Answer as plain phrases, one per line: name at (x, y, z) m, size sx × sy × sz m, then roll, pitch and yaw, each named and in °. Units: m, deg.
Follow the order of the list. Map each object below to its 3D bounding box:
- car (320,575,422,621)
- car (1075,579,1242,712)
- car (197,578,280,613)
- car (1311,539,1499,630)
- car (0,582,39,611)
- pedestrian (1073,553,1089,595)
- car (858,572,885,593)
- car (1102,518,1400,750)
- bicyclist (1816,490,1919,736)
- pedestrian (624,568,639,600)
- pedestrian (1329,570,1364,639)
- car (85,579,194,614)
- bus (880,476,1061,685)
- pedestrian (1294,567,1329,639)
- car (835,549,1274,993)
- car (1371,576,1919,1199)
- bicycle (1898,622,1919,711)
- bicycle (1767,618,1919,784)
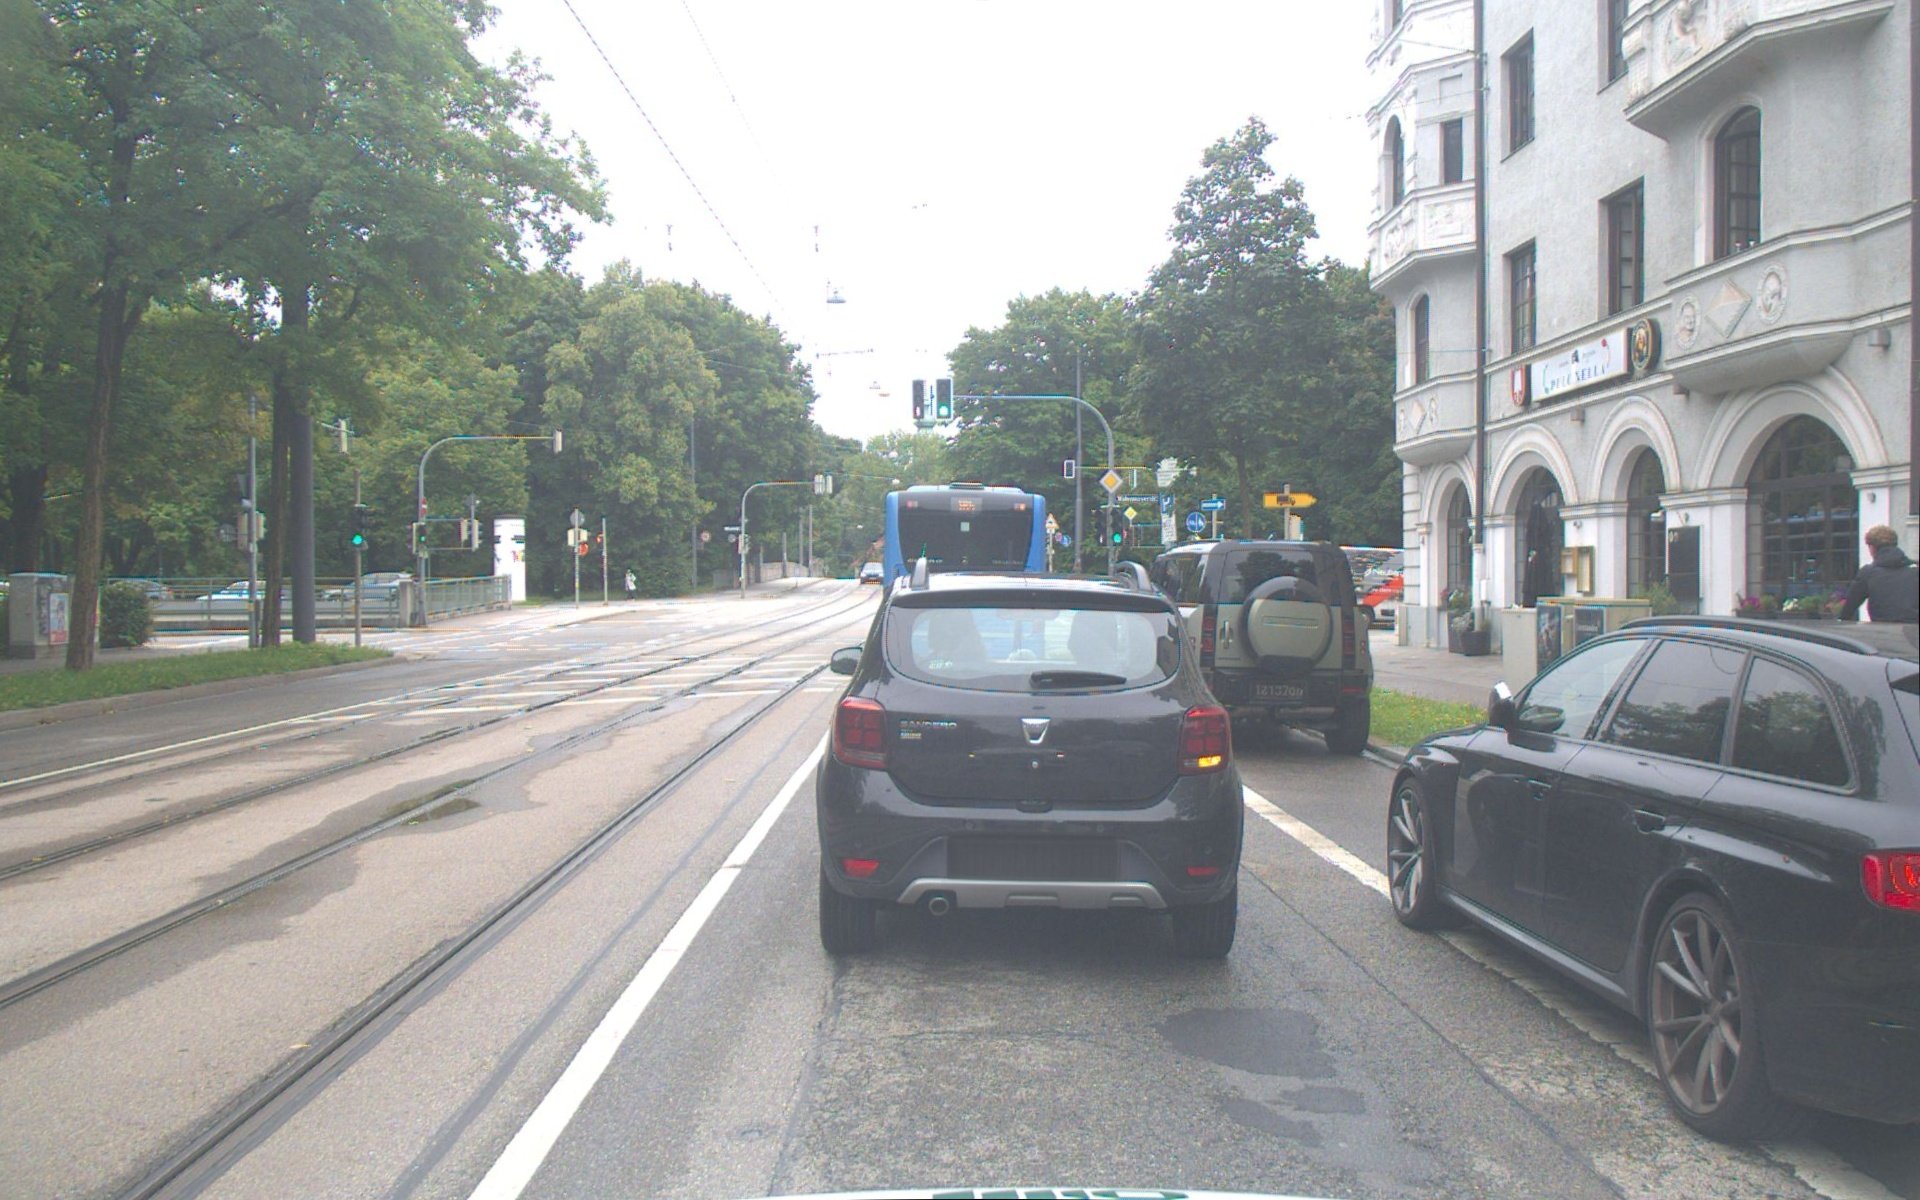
car at (-25.919, -0.083, 72.913) m, size 3.946 × 1.920 × 1.488 m, roll 1°, pitch 0°, yaw -8°
car at (2.614, 0.556, 22.690) m, size 1.679 × 1.619 × 4.326 m, roll 1°, pitch 0°, yaw -1°
car at (-31.471, -0.194, 72.193) m, size 3.050 × 1.477 × 1.249 m, roll 1°, pitch 0°, yaw -6°
car at (13.808, -0.470, 51.535) m, size 5.191 × 2.658 × 2.229 m, roll 1°, pitch 0°, yaw -4°
car at (-41.965, -0.173, 71.358) m, size 3.656 × 1.206 × 1.249 m, roll 1°, pitch 0°, yaw -6°
pedestrian at (6.260, -1.335, 85.876) m, size 0.747 × 2.153 × 0.853 m, roll 0°, pitch 1°, yaw -1°
car at (-6.187, -1.233, 115.665) m, size 1.752 × 1.394 × 3.399 m, roll 1°, pitch 0°, yaw -2°
car at (2.700, 0.280, 16.532) m, size 1.876 × 1.939 × 4.805 m, roll 1°, pitch 0°, yaw -3°
bicyclist at (6.909, 0.095, 12.266) m, size 0.709 × 1.759 × 0.726 m, roll 1°, pitch 0°, yaw -2°
pedestrian at (-16.004, -0.789, 80.567) m, size 0.520 × 1.527 × 0.588 m, roll 1°, pitch 0°, yaw 4°
pedestrian at (10.025, 0.113, 42.917) m, size 0.690 × 1.762 × 0.843 m, roll 1°, pitch 0°, yaw -1°
car at (-35.615, -0.159, 71.872) m, size 3.848 × 1.429 × 1.719 m, roll 1°, pitch 0°, yaw -5°
bus at (0.009, -0.302, 28.120) m, size 2.625 × 3.050 × 6.957 m, roll 1°, pitch 0°, yaw -3°
pedestrian at (9.220, 0.084, 43.441) m, size 0.690 × 1.848 × 0.869 m, roll 1°, pitch 0°, yaw -1°
car at (0.307, 0.618, 7.790) m, size 1.568 × 1.584 × 3.524 m, roll 1°, pitch 0°, yaw -1°
car at (2.931, 0.681, 5.870) m, size 1.681 × 1.451 × 4.601 m, roll 1°, pitch 0°, yaw -1°
bicycle at (10.458, 0.719, 17.767) m, size 0.254 × 0.947 × 0.886 m, roll 1°, pitch 0°, yaw 0°
bicycle at (6.884, 0.713, 12.468) m, size 0.567 × 1.097 × 1.911 m, roll -2°, pitch 0°, yaw -2°
